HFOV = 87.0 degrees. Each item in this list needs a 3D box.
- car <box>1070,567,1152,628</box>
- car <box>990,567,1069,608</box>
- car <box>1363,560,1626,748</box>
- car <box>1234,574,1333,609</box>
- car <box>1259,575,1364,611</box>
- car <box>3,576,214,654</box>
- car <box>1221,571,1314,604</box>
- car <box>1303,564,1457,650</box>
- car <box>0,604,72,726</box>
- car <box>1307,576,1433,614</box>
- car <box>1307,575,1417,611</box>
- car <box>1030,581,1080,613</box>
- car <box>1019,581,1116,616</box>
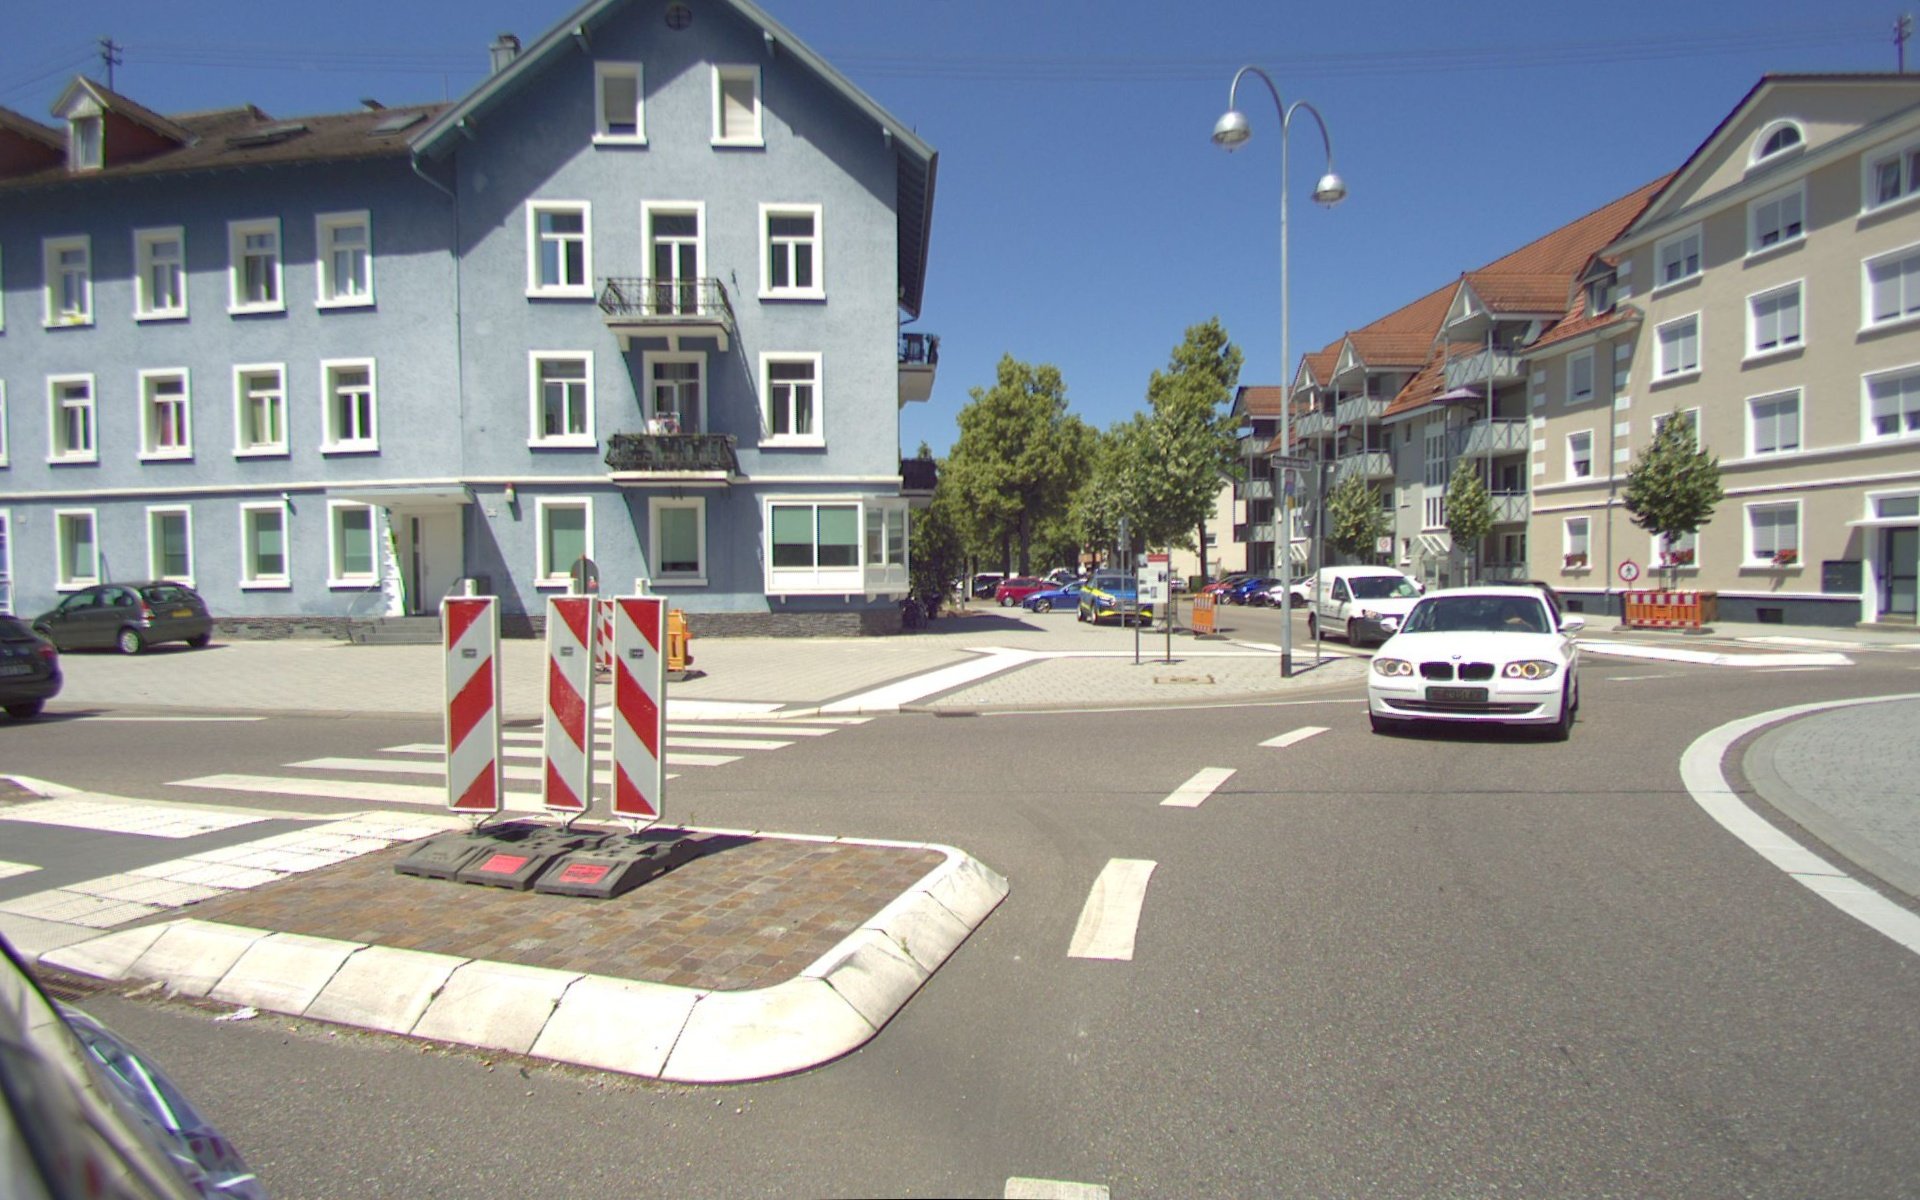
[{"bbox_3d":[4.755,-0.116,32.426,1.755,1.791,4.247,-1,1,-3],"label":"car"},{"bbox_3d":[3.668,-0.687,53.945,3.942,2.028,2.001,-1,3,-2],"label":"car"},{"bbox_3d":[5.722,0.417,10.571,1.784,1.562,4.077,-1,0,37],"label":"car"},{"bbox_3d":[16.419,-0.430,51.516,4.308,1.683,1.984,-1,0,-3],"label":"car"},{"bbox_3d":[16.920,-0.346,48.864,4.308,1.683,1.984,-1,0,-3],"label":"car"},{"bbox_3d":[-18.499,0.290,22.036,3.736,1.546,1.577,1,2,12],"label":"car"},{"bbox_3d":[16.361,-0.653,53.986,4.308,1.683,1.984,-1,0,-3],"label":"car"},{"bbox_3d":[9.525,0.094,23.366,1.756,1.791,4.244,0,1,0],"label":"car"},{"bbox_3d":[-13.576,0.819,12.700,3.983,1.463,1.658,-1,0,13],"label":"car"},{"bbox_3d":[16.911,-0.214,41.871,4.344,1.503,1.984,-1,0,-3],"label":"car"},{"bbox_3d":[17.727,-0.303,44.772,4.022,1.503,1.984,-1,0,-3],"label":"car"},{"bbox_3d":[5.398,-0.179,57.947,2.251,1.705,4.129,0,0,-2],"label":"car"},{"bbox_3d":[4.642,-0.084,43.922,3.973,1.369,1.663,-1,4,-2],"label":"car"}]
